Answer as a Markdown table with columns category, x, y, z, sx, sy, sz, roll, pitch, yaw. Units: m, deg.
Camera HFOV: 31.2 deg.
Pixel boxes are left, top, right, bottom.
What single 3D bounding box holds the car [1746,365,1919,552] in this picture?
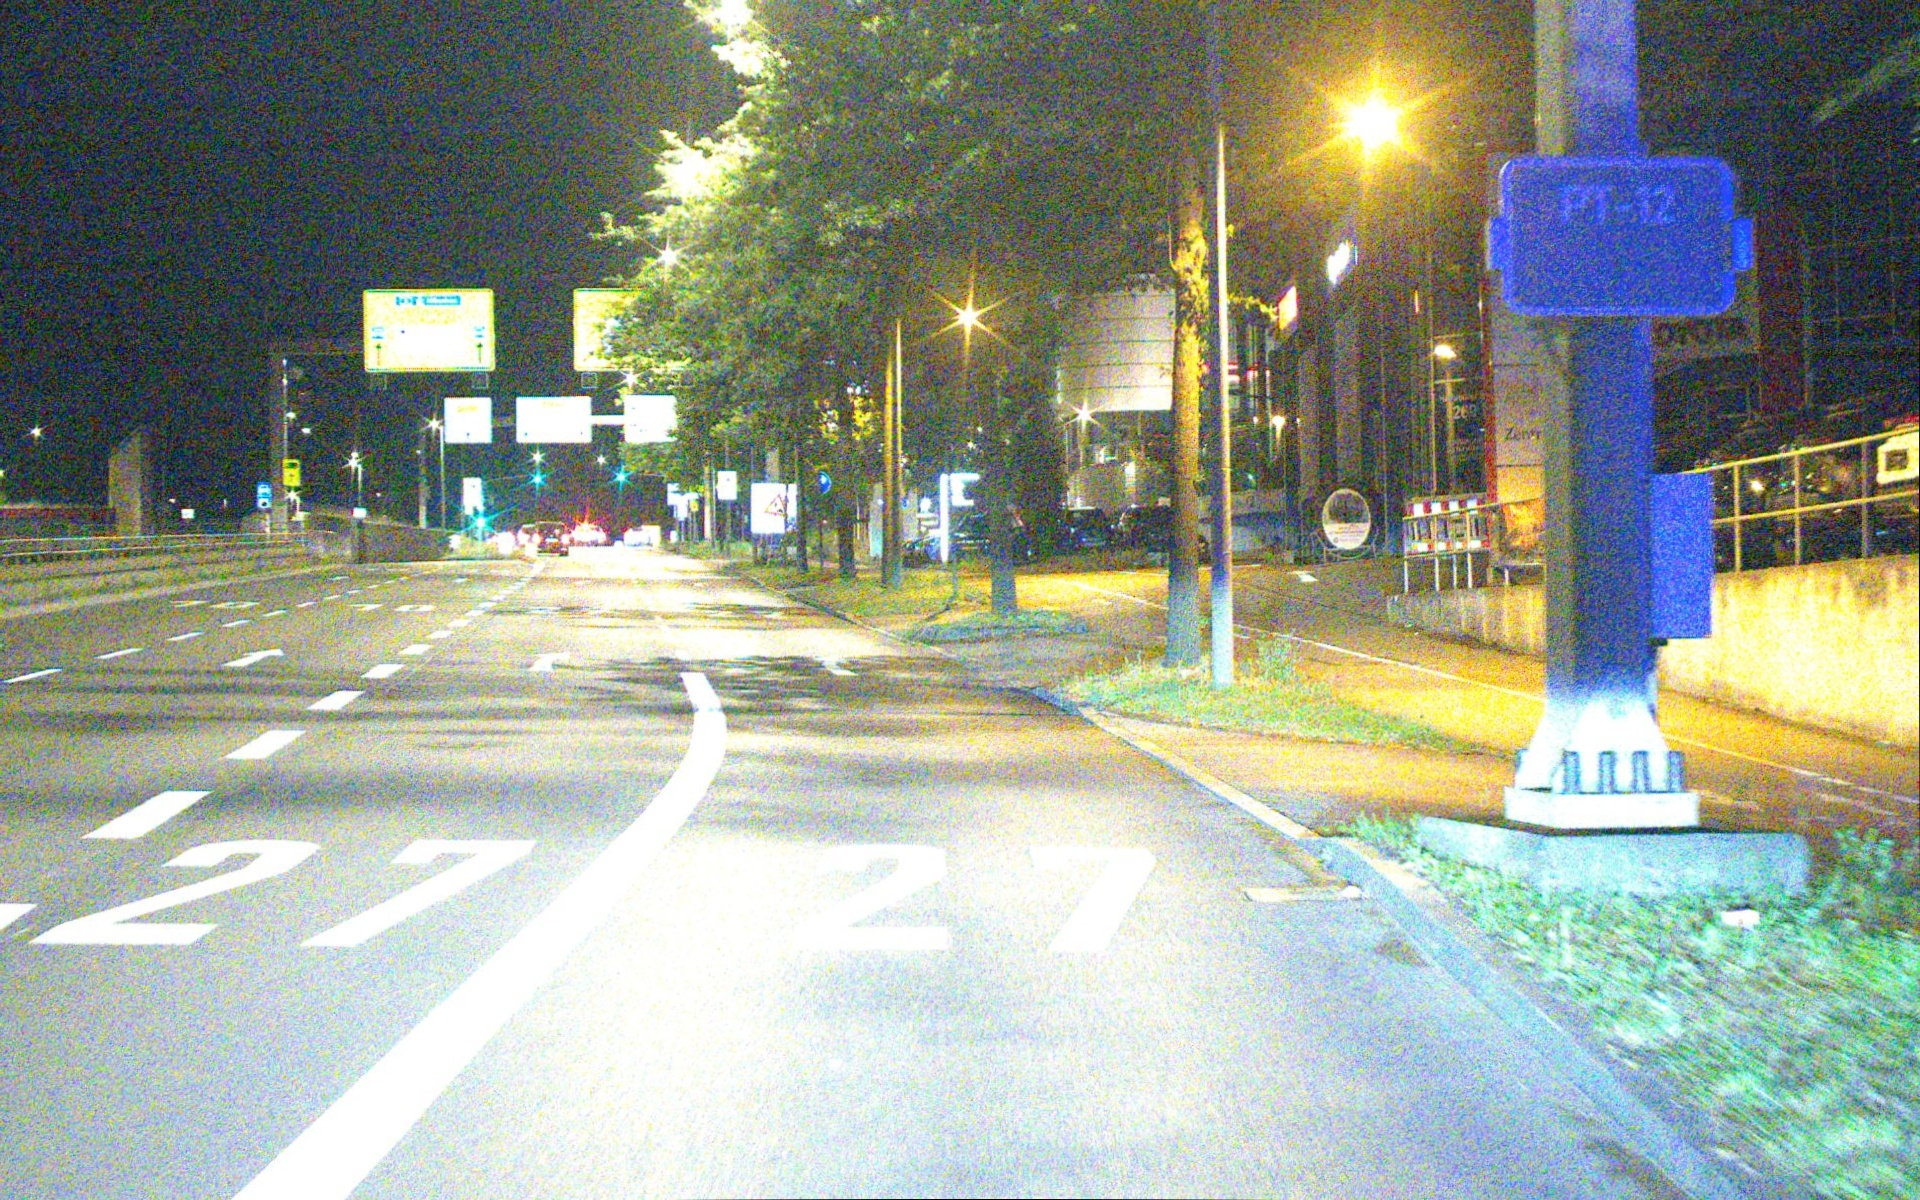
| category | x | y | z | sx | sy | sz | roll | pitch | yaw |
| --- | --- | --- | --- | --- | --- | --- | --- | --- | --- |
| car | 9.312 | -1.300 | 30.905 | 3.986 | 1.566 | 1.739 | -2 | 0 | -4 |

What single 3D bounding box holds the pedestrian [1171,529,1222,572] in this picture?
| category | x | y | z | sx | sy | sz | roll | pitch | yaw |
| --- | --- | --- | --- | --- | --- | --- | --- | --- | --- |
| pedestrian | 5.780 | -1.211 | 83.916 | 0.997 | 1.004 | 0.772 | 1 | -1 | -21 |

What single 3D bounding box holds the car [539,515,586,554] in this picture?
| category | x | y | z | sx | sy | sz | roll | pitch | yaw |
| --- | --- | --- | --- | --- | --- | --- | --- | --- | --- |
| car | -18.832 | -3.079 | 163.040 | 1.967 | 1.705 | 4.000 | 1 | 0 | -3 |

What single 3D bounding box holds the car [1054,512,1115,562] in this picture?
| category | x | y | z | sx | sy | sz | roll | pitch | yaw |
| --- | --- | --- | --- | --- | --- | --- | --- | --- | --- |
| car | 4.073 | -2.067 | 112.979 | 1.892 | 1.506 | 3.636 | 1 | 0 | 1 |

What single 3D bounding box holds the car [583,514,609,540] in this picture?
| category | x | y | z | sx | sy | sz | roll | pitch | yaw |
| --- | --- | --- | --- | --- | --- | --- | --- | --- | --- |
| car | -26.320 | -5.275 | 248.463 | 1.780 | 1.722 | 4.001 | 1 | 0 | -6 |

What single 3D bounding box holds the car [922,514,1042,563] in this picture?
| category | x | y | z | sx | sy | sz | roll | pitch | yaw |
| --- | --- | --- | --- | --- | --- | --- | --- | --- | --- |
| car | 0.707 | -1.979 | 110.938 | 3.623 | 1.446 | 1.708 | 1 | -1 | -9 |

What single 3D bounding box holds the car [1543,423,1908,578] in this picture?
| category | x | y | z | sx | sy | sz | roll | pitch | yaw |
| --- | --- | --- | --- | --- | --- | --- | --- | --- | --- |
| car | 8.583 | -1.106 | 38.688 | 3.561 | 1.564 | 1.727 | -2 | 0 | -10 |

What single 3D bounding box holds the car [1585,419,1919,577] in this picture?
| category | x | y | z | sx | sy | sz | roll | pitch | yaw |
| --- | --- | --- | --- | --- | --- | --- | --- | --- | --- |
| car | 8.616 | -1.060 | 35.844 | 3.724 | 1.484 | 1.742 | -2 | 0 | -7 |

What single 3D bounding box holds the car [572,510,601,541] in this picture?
| category | x | y | z | sx | sy | sz | roll | pitch | yaw |
| --- | --- | --- | --- | --- | --- | --- | --- | --- | --- |
| car | -26.306 | -5.219 | 241.981 | 1.993 | 2.007 | 4.001 | 1 | 0 | -6 |

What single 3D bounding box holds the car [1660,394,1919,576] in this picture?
| category | x | y | z | sx | sy | sz | roll | pitch | yaw |
| --- | --- | --- | --- | --- | --- | --- | --- | --- | --- |
| car | 8.950 | -1.144 | 33.458 | 3.746 | 1.582 | 1.781 | -3 | -1 | -7 |

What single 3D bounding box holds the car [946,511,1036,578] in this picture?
| category | x | y | z | sx | sy | sz | roll | pitch | yaw |
| --- | --- | --- | --- | --- | --- | --- | --- | --- | --- |
| car | 0.974 | -1.700 | 105.963 | 1.994 | 1.938 | 3.998 | 1 | 0 | 12 |

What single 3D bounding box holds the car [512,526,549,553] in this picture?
| category | x | y | z | sx | sy | sz | roll | pitch | yaw |
| --- | --- | --- | --- | --- | --- | --- | --- | --- | --- |
| car | -27.209 | -3.844 | 217.918 | 2.004 | 1.546 | 4.295 | 1 | 0 | -3 |

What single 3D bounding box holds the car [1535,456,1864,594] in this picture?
| category | x | y | z | sx | sy | sz | roll | pitch | yaw |
| --- | --- | --- | --- | --- | --- | --- | --- | --- | --- |
| car | 9.069 | -0.931 | 42.060 | 3.832 | 1.485 | 1.740 | -3 | -1 | -36 |

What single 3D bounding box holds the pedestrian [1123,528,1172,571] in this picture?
| category | x | y | z | sx | sy | sz | roll | pitch | yaw |
| --- | --- | --- | --- | --- | --- | --- | --- | --- | --- |
| pedestrian | 4.583 | -1.232 | 83.857 | 0.912 | 1.035 | 0.770 | -1 | 0 | 38 |

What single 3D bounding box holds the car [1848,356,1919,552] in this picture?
| category | x | y | z | sx | sy | sz | roll | pitch | yaw |
| --- | --- | --- | --- | --- | --- | --- | --- | --- | --- |
| car | 9.722 | -1.246 | 28.564 | 4.119 | 1.517 | 1.822 | -2 | -1 | -4 |
